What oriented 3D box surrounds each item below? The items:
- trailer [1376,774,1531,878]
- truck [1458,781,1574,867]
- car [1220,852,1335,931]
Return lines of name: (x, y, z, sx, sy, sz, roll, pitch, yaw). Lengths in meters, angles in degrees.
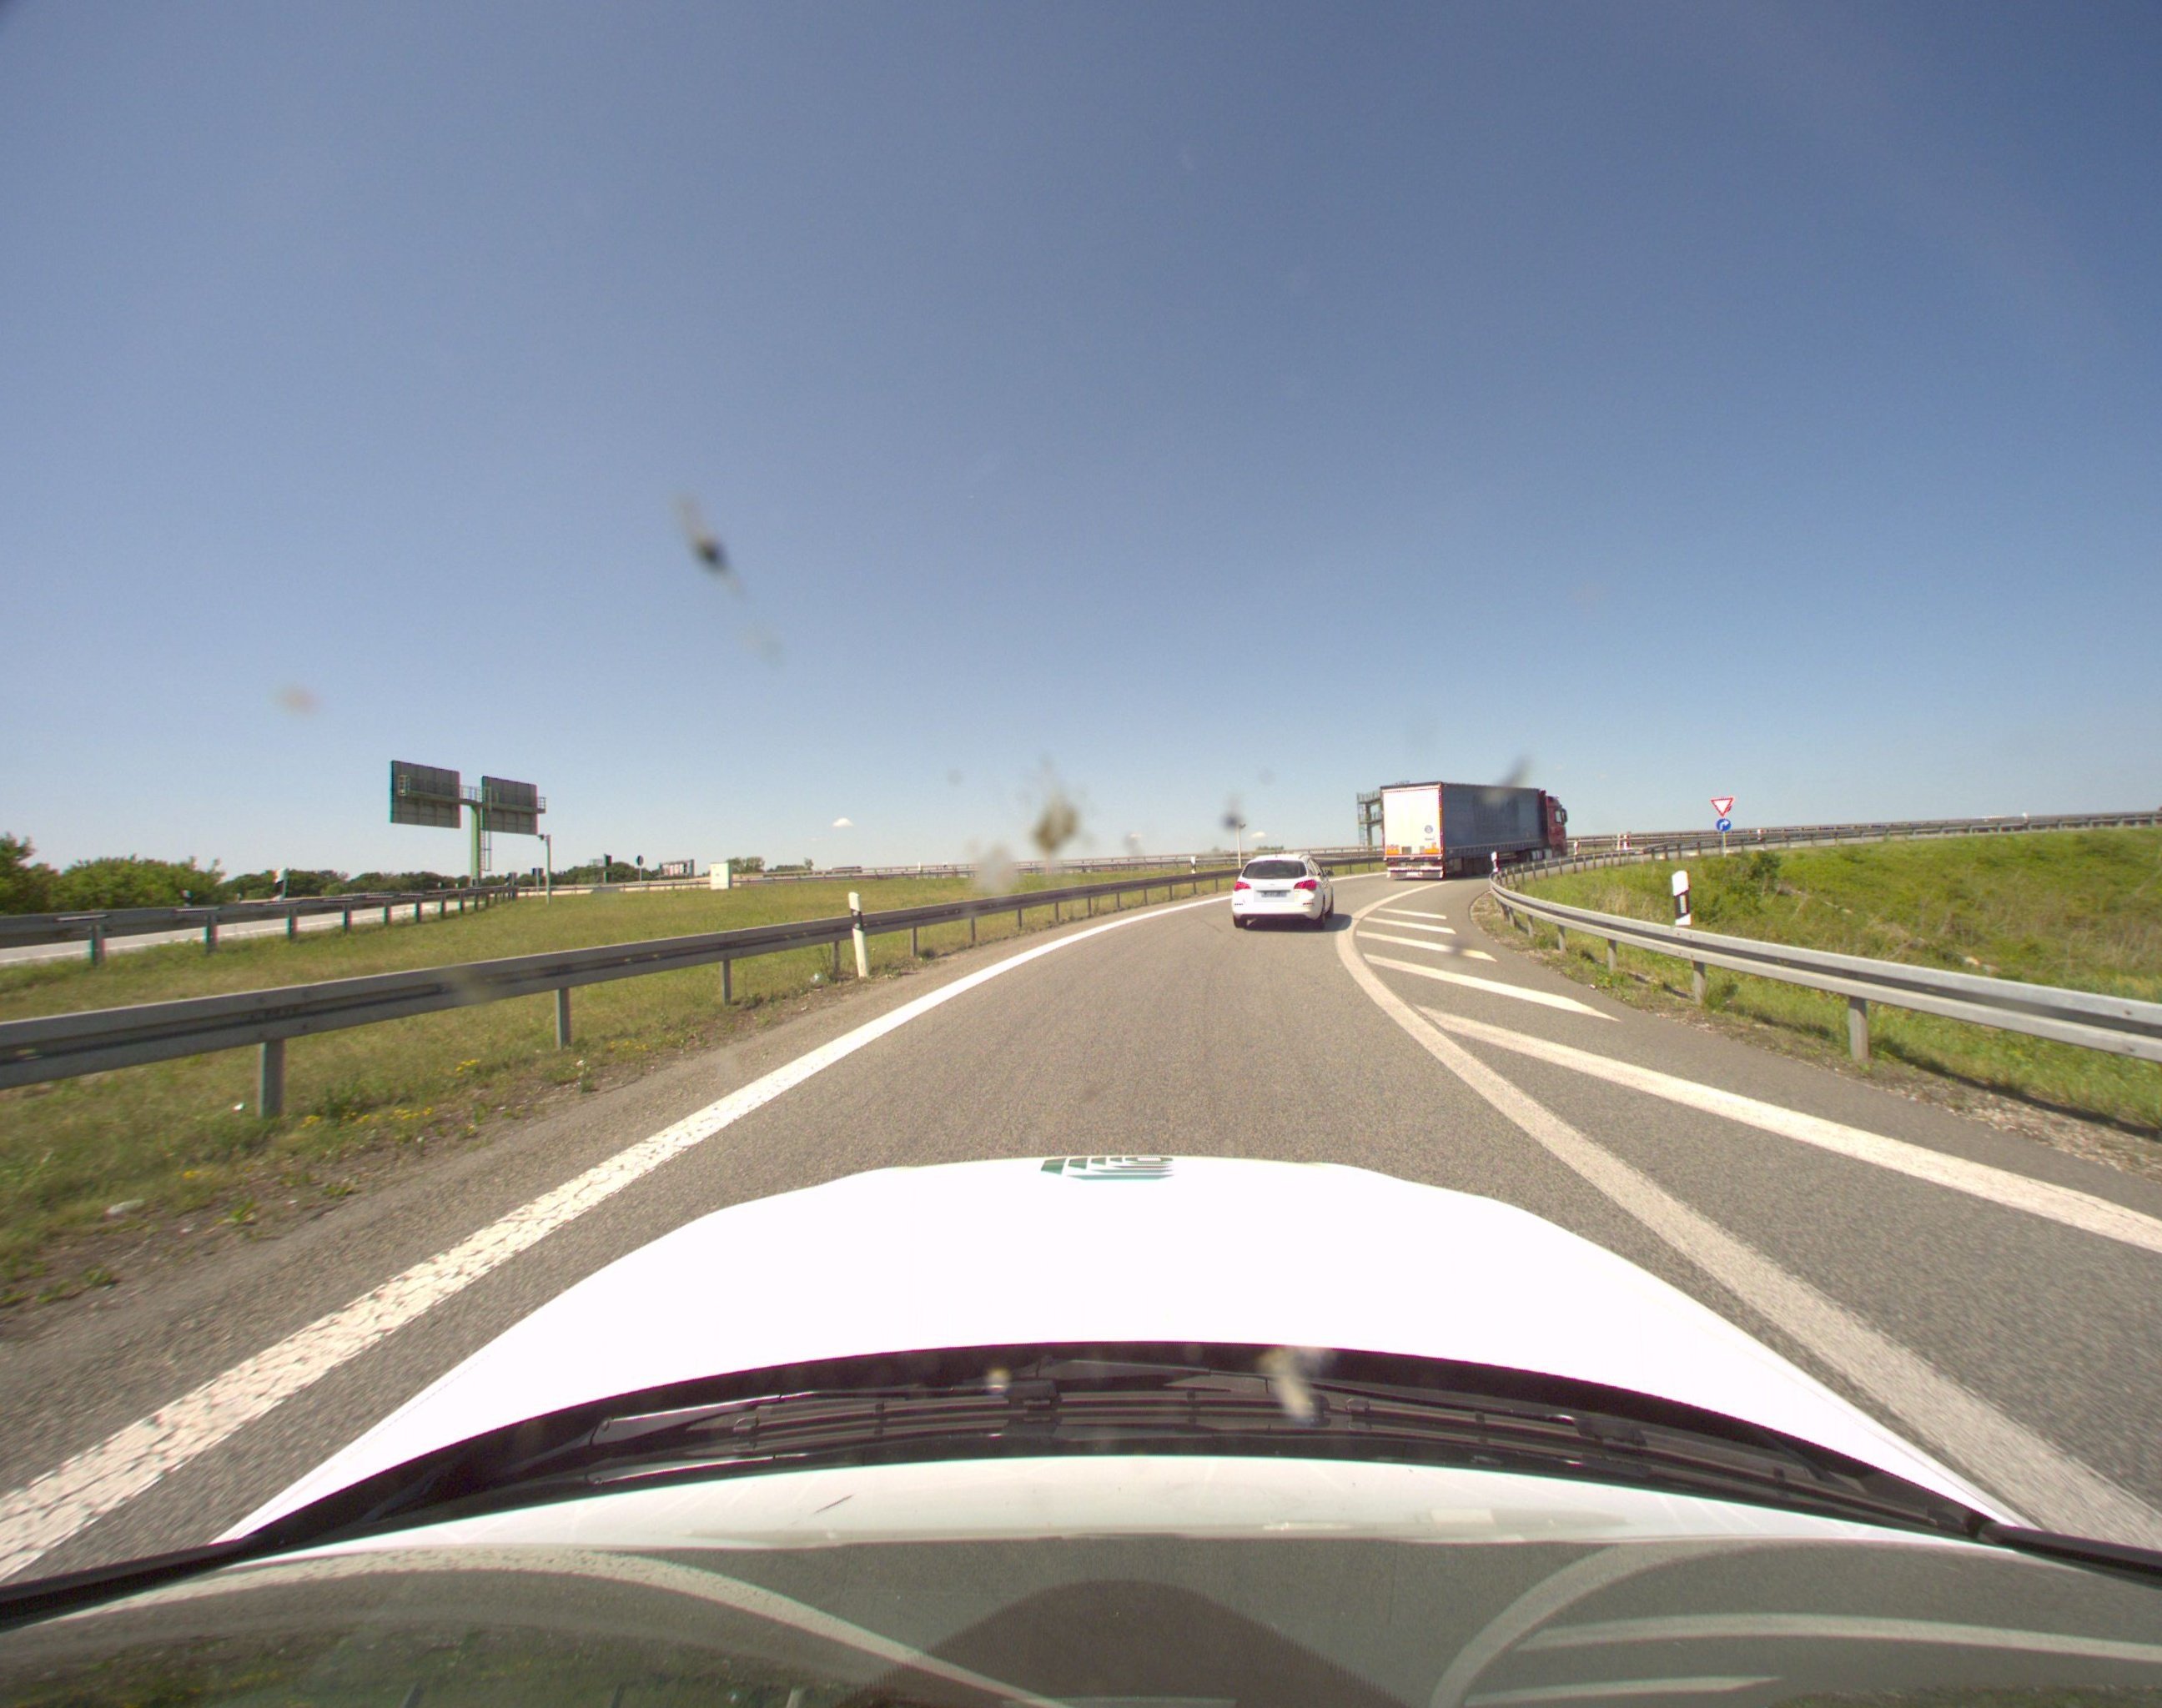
trailer: (17.525, -1.156, 37.665, 2.885, 4.145, 11.325, -2, -1, 44)
truck: (22.976, -1.488, 42.876, 6.961, 4.145, 2.888, -1, -1, -40)
car: (4.325, 0.713, 17.418, 1.839, 1.443, 4.394, -2, -1, 20)
